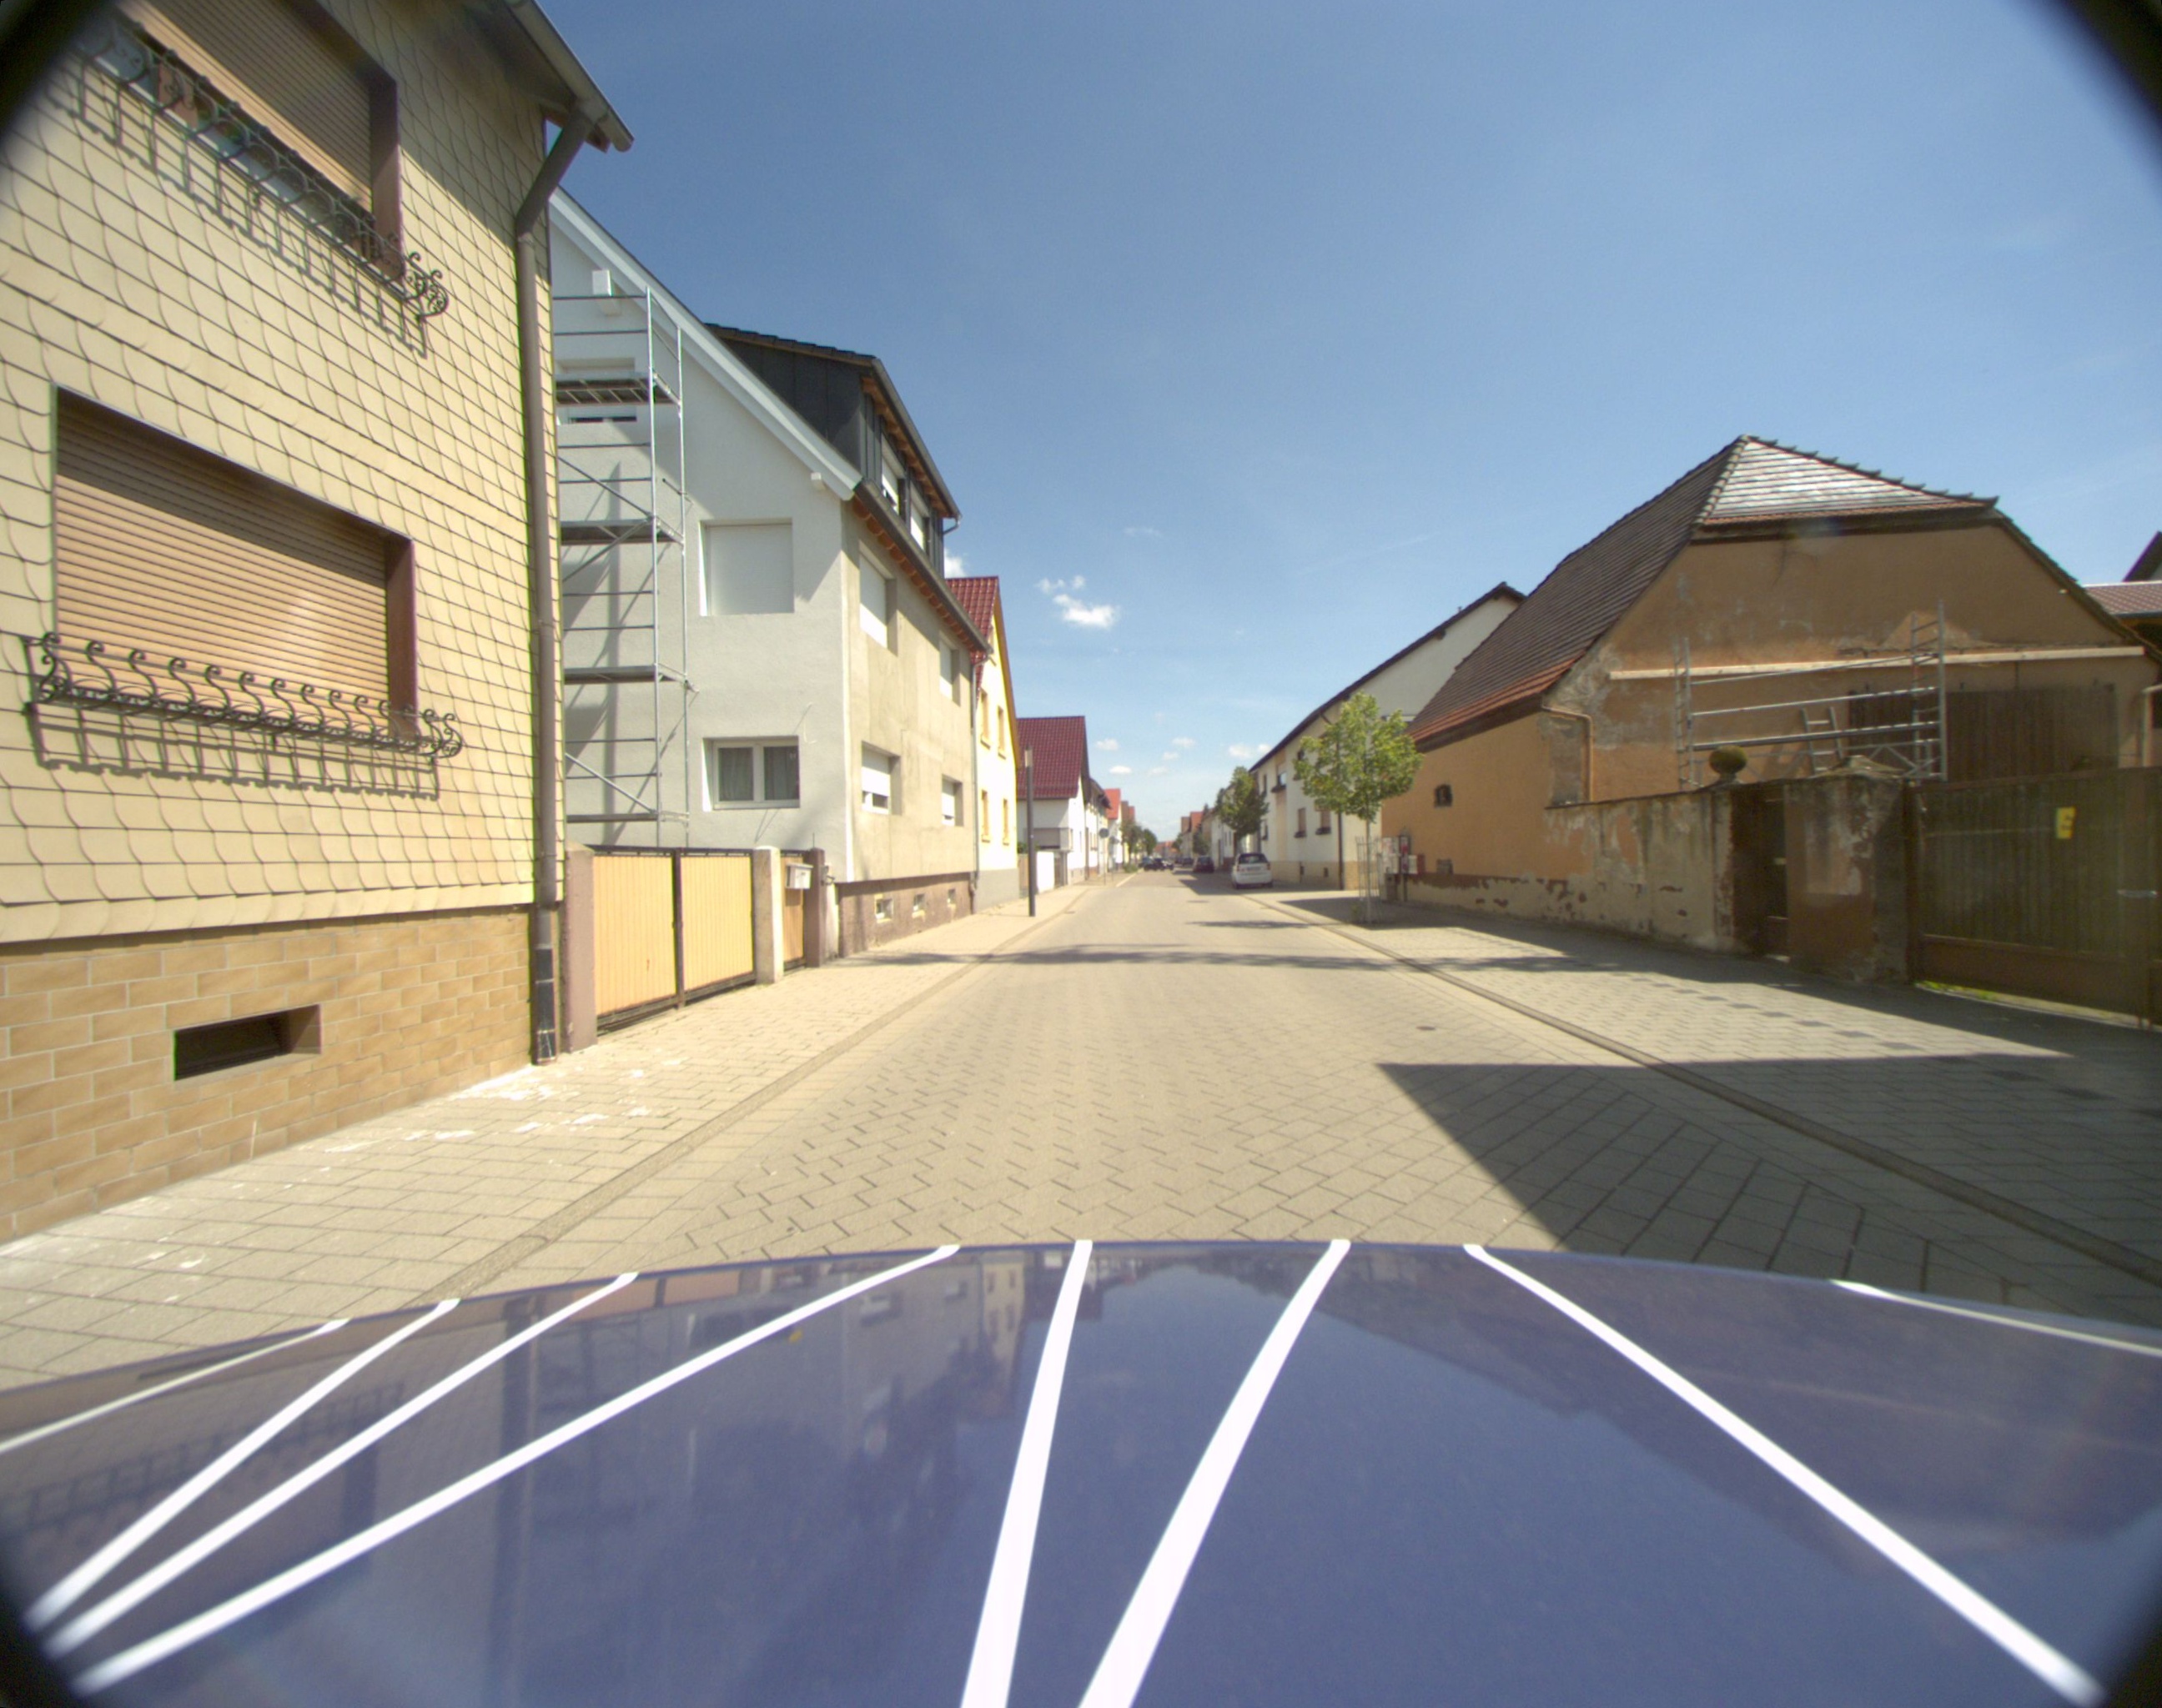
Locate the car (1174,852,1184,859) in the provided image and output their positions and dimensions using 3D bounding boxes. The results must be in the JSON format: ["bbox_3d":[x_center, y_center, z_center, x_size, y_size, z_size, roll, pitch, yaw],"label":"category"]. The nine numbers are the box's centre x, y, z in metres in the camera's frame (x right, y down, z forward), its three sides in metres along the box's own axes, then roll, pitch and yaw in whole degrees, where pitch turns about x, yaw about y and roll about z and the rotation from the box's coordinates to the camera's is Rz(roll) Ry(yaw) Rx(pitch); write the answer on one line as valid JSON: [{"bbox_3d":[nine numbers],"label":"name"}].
[{"bbox_3d":[22.212,0.399,172.032,1.997,1.570,4.002,-1,0,6],"label":"car"}]

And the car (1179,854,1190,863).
[{"bbox_3d":[20.171,0.871,148.257,1.854,1.543,4.001,-1,0,4],"label":"car"}]

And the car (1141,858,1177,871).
[{"bbox_3d":[8.713,1.169,84.948,1.731,1.420,3.808,-1,0,-40],"label":"car"}]

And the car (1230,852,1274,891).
[{"bbox_3d":[7.428,0.743,33.270,1.575,1.552,2.823,-4,0,8],"label":"car"}]

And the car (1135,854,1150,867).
[{"bbox_3d":[8.924,0.939,110.110,1.997,1.696,4.002,-1,0,8],"label":"car"}]

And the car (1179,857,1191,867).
[{"bbox_3d":[17.456,1.325,127.187,1.851,1.688,4.002,-1,0,7],"label":"car"}]

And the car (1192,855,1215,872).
[{"bbox_3d":[11.493,0.853,71.256,1.751,1.557,3.956,-1,0,4],"label":"car"}]
